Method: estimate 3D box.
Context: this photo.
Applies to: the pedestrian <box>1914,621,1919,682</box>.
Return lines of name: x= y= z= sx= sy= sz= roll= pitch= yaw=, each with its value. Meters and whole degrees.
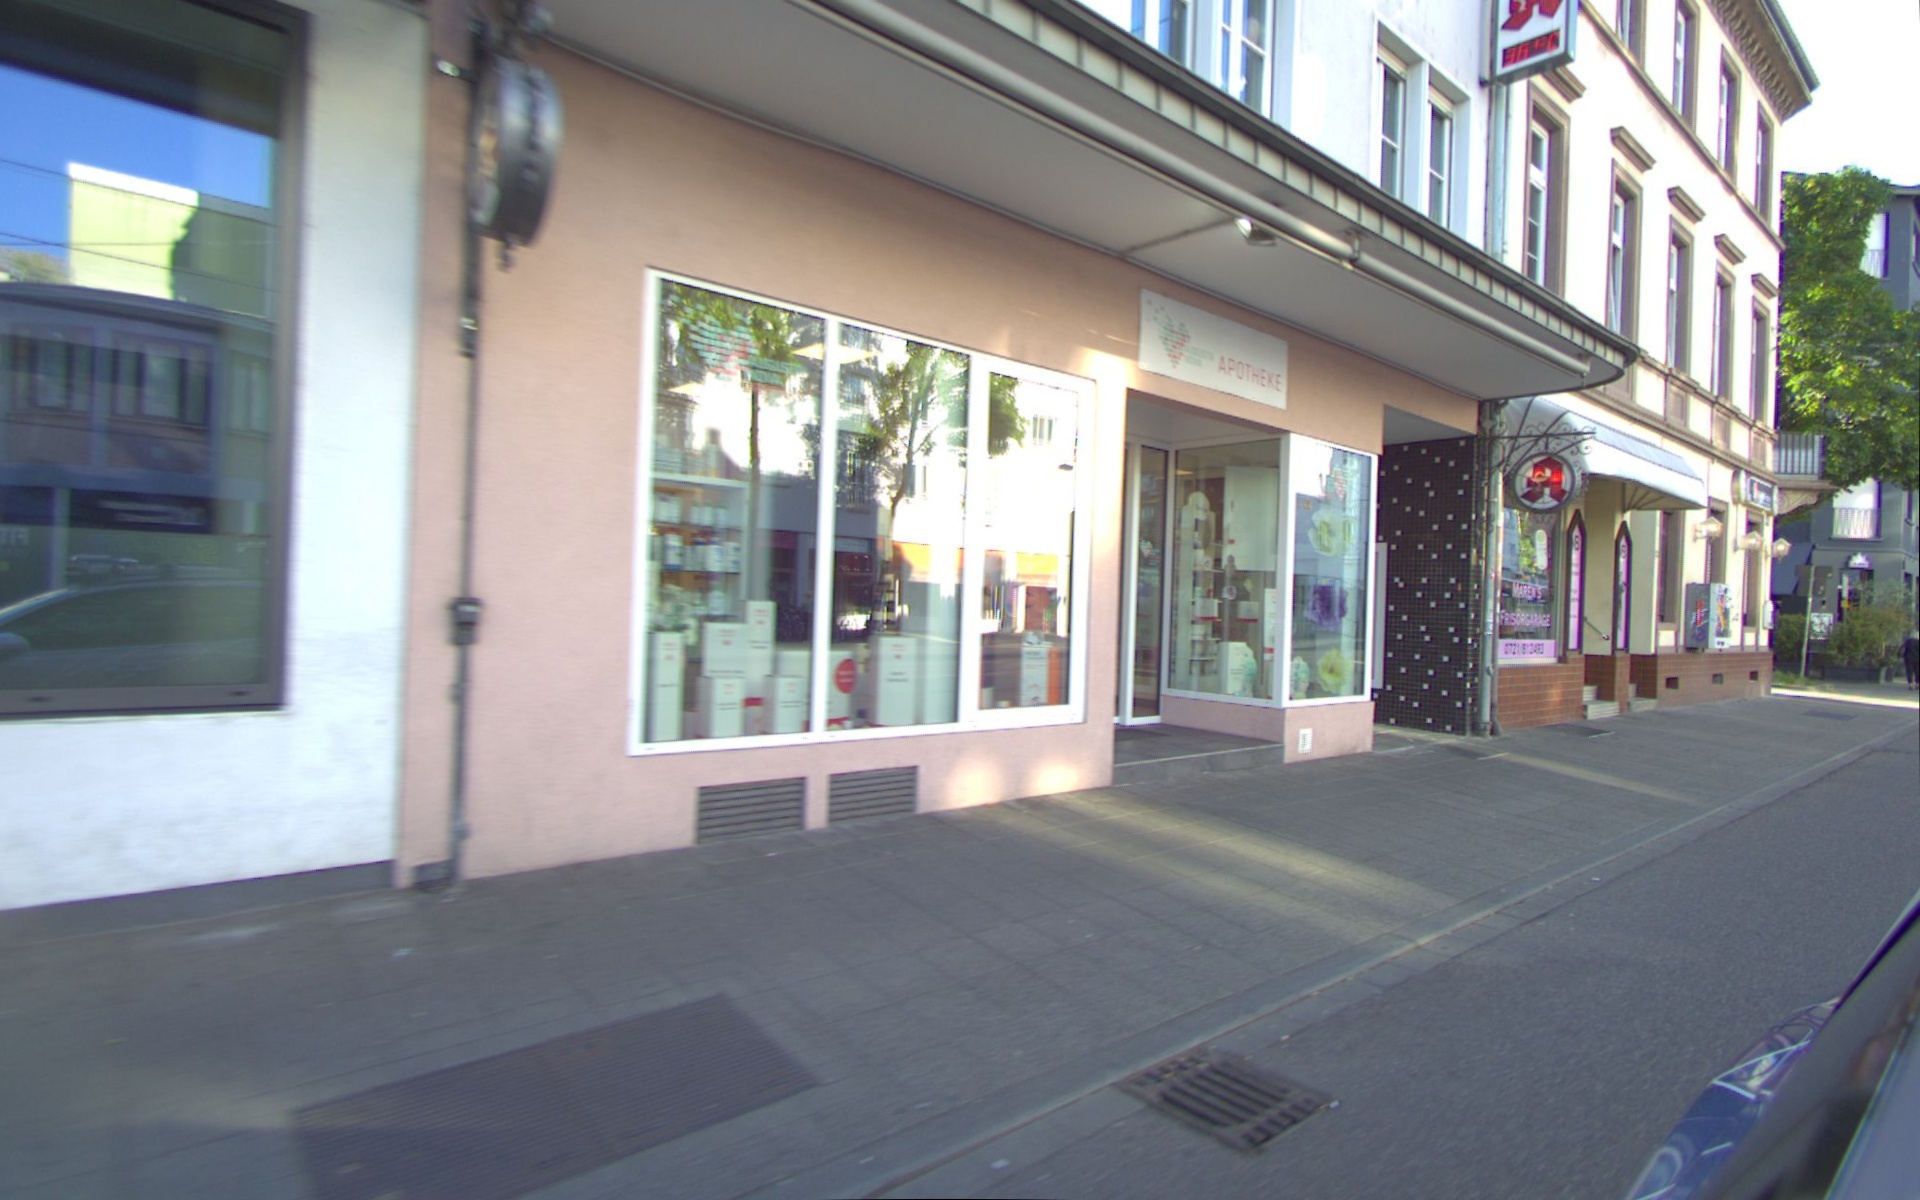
pedestrian: x=25.743 y=1.374 z=26.818 sx=0.649 sy=1.598 sz=0.672 roll=2 pitch=0 yaw=43
